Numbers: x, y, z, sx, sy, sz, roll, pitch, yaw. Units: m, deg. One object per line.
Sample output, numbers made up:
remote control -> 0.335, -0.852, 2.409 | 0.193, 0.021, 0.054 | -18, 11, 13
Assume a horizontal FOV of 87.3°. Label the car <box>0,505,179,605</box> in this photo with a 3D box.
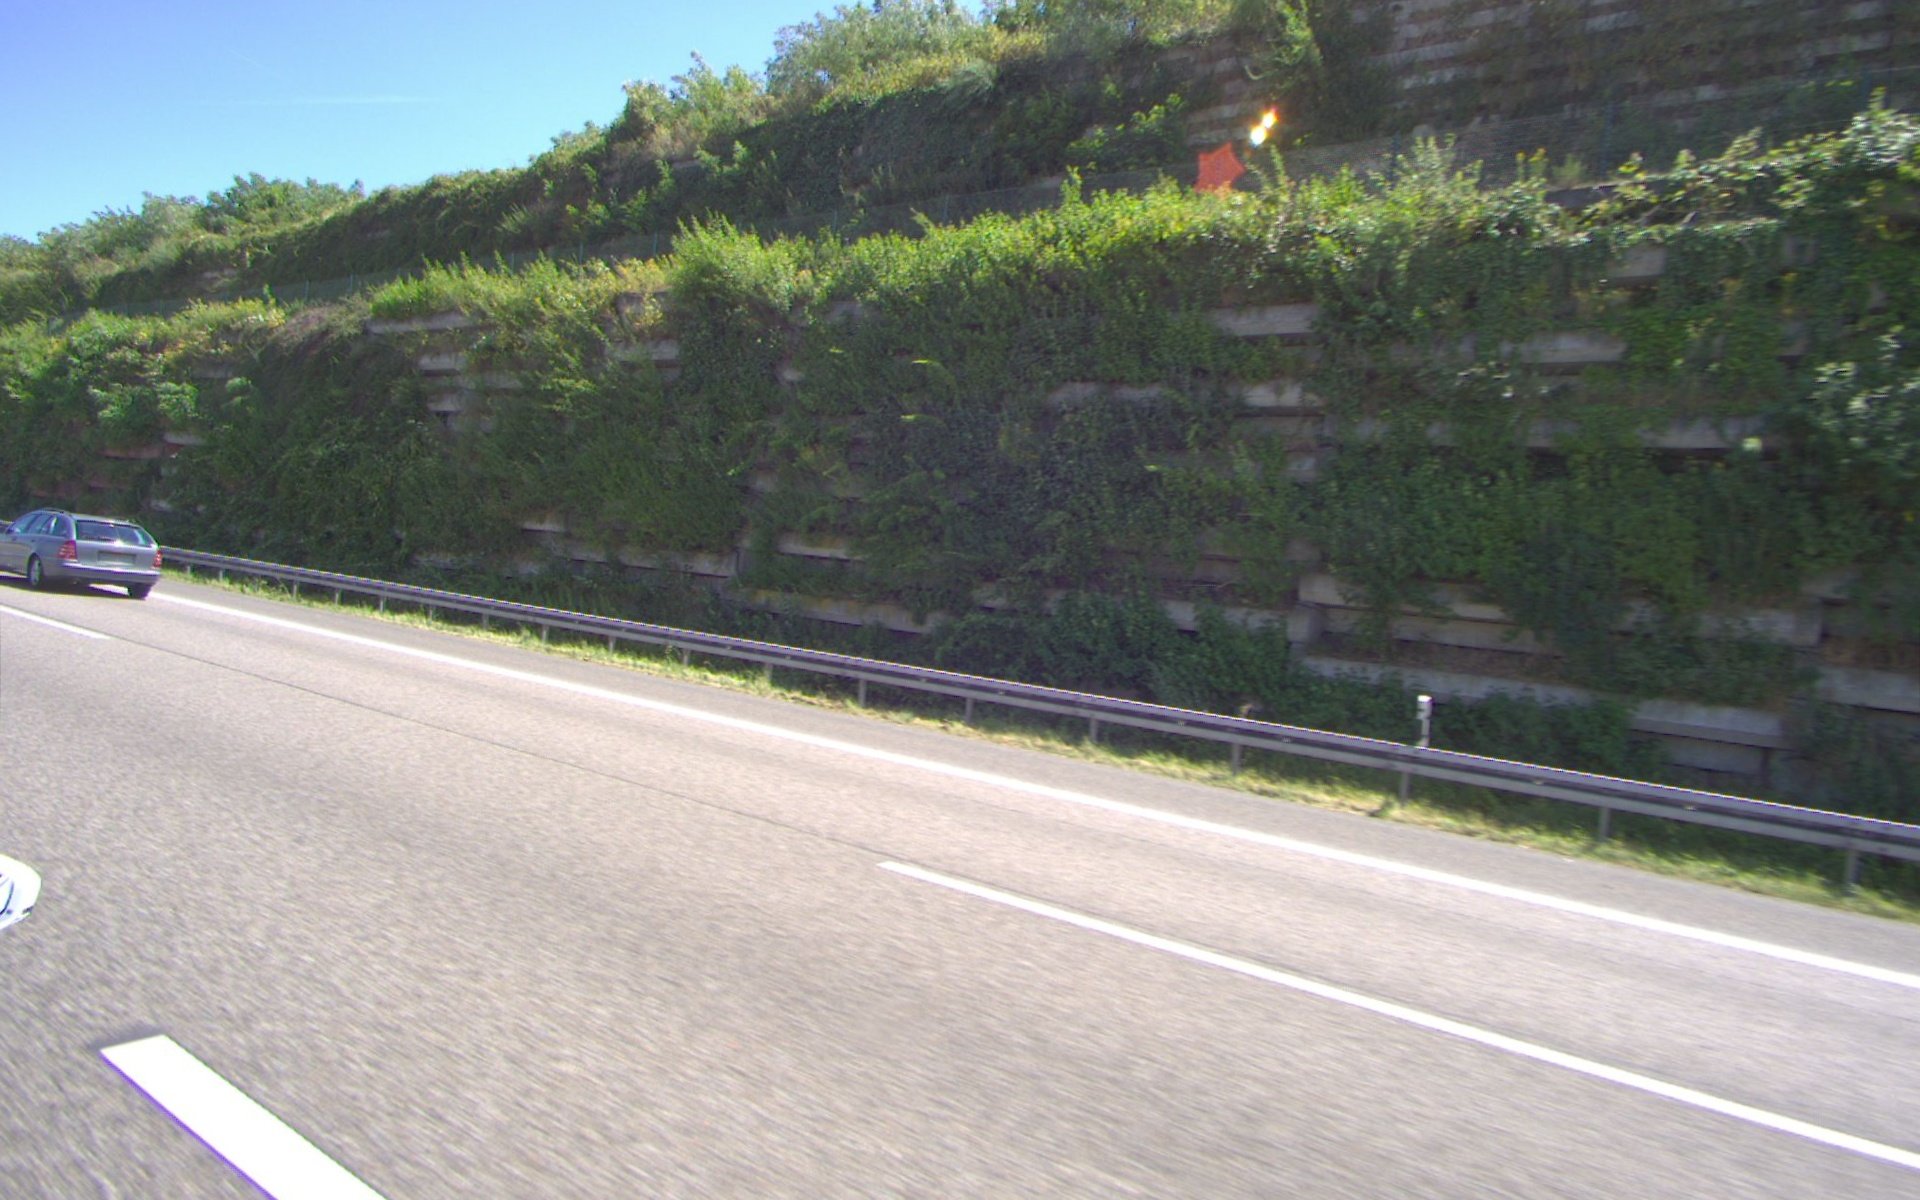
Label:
car -> -16.914, -0.902, 19.106 | 4.378, 1.445, 1.687 | 6, -1, 31
